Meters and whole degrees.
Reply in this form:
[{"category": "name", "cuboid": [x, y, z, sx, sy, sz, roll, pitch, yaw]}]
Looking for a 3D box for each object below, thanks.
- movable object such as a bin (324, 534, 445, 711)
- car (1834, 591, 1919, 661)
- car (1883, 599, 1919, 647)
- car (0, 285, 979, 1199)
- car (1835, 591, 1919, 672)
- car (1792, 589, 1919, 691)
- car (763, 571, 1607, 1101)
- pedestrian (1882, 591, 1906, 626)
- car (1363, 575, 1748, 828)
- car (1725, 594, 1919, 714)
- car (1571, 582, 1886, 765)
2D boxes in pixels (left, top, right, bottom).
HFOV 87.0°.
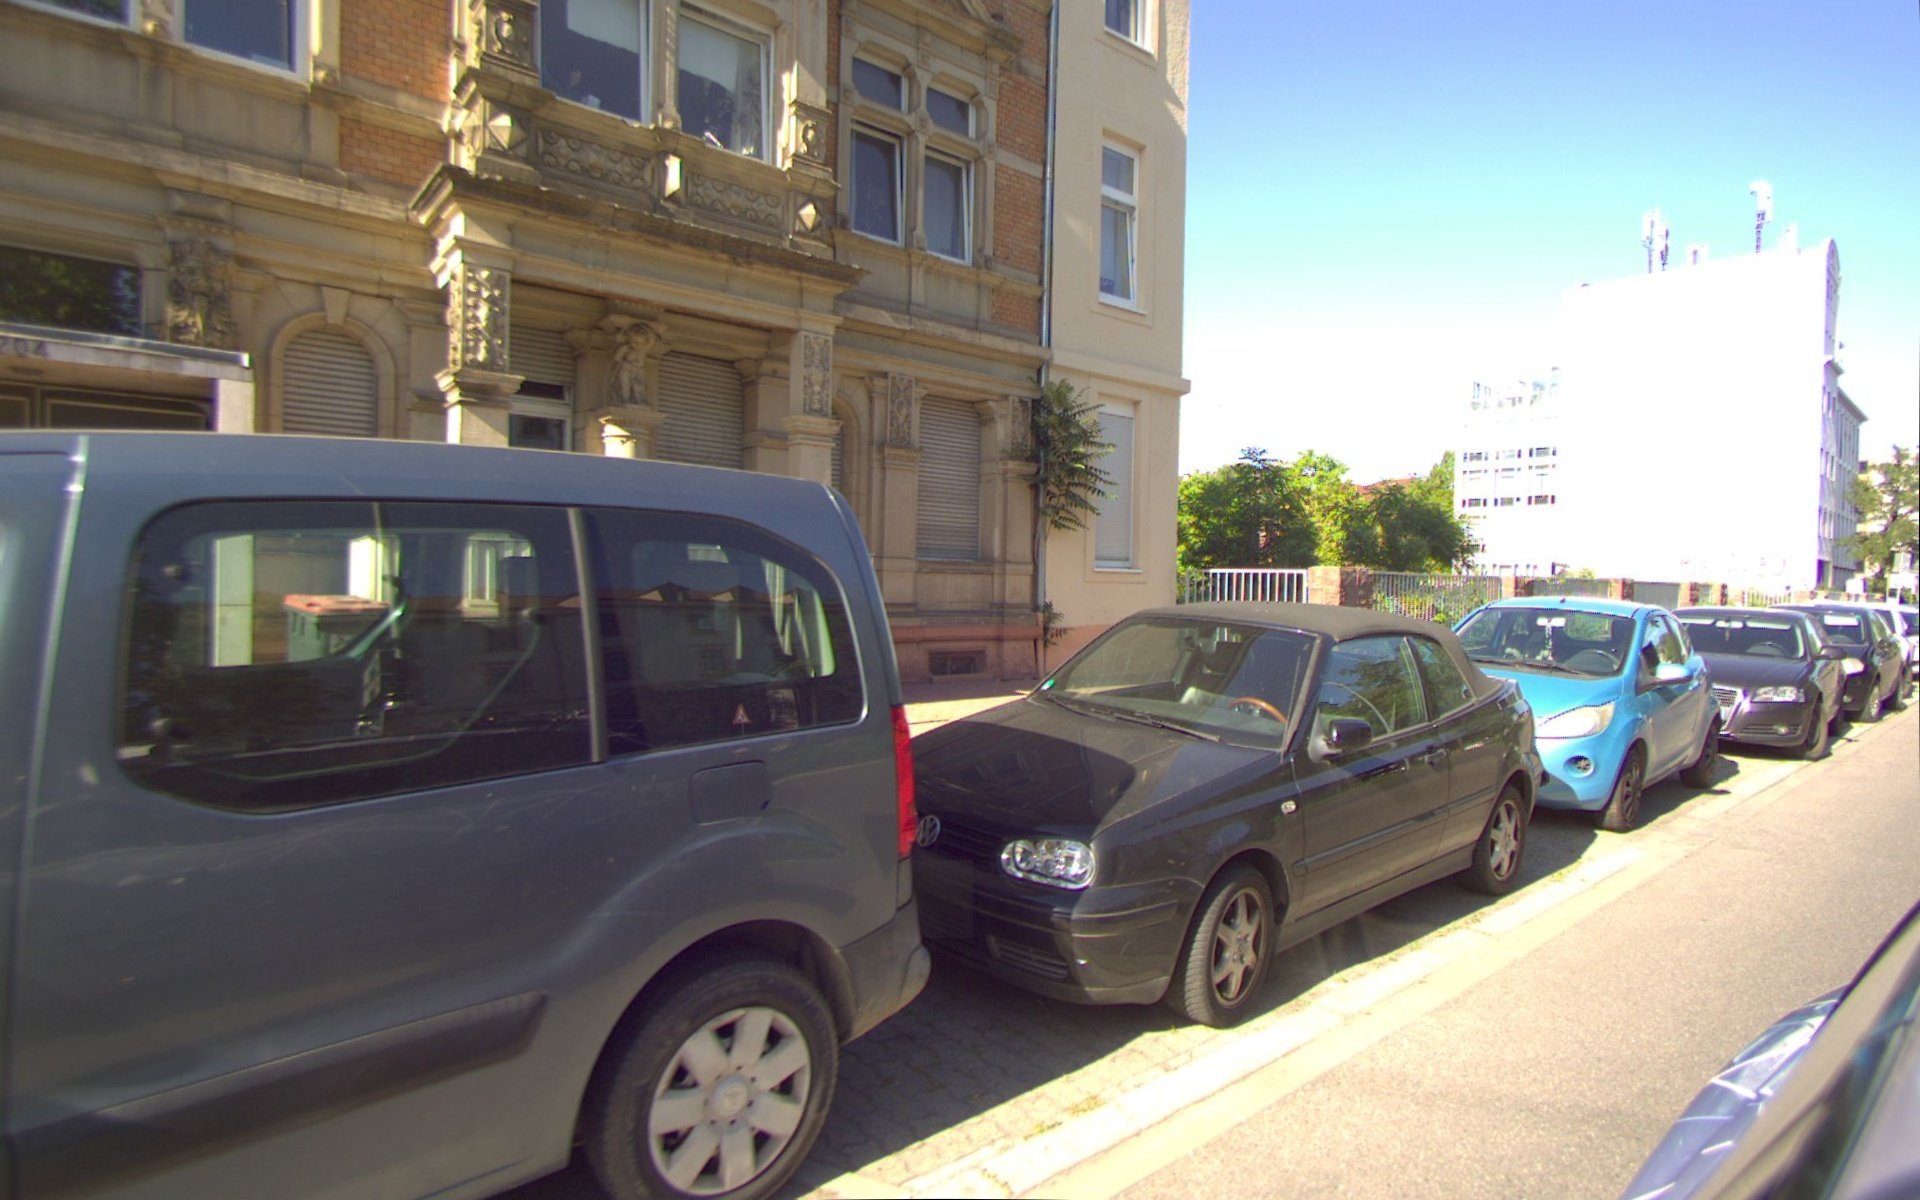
[{"category": "movable object such as a bin", "cuboid": [-4.114, 0.135, 7.224, 0.598, 1.171, 0.760, -3, 2, -39]}, {"category": "car", "cuboid": [22.926, 0.602, 24.996, 1.670, 1.477, 3.921, 6, 4, 45]}, {"category": "car", "cuboid": [26.601, 0.648, 27.663, 3.835, 1.197, 1.671, 0, 4, -43]}, {"category": "car", "cuboid": [-2.197, 0.439, 2.053, 4.285, 1.867, 1.824, 0, 1, -39]}, {"category": "car", "cuboid": [19.489, 0.630, 20.927, 3.596, 1.463, 1.611, 1, 4, -43]}, {"category": "car", "cuboid": [15.691, 0.620, 17.474, 3.601, 1.538, 1.669, 0, 1, -45]}, {"category": "car", "cuboid": [1.349, 0.658, 4.819, 4.196, 1.486, 1.672, 0, 1, -39]}, {"category": "pedestrian", "cuboid": [43.198, 0.402, 46.809, 0.881, 1.603, 0.744, 0, 0, -41]}, {"category": "car", "cuboid": [4.670, 0.614, 7.787, 3.242, 1.489, 1.624, 1, 1, -42]}, {"category": "car", "cuboid": [12.166, 0.655, 14.160, 3.710, 1.411, 1.670, 0, 1, -43]}, {"category": "car", "cuboid": [8.421, 0.627, 10.936, 4.407, 1.538, 1.938, 0, 1, -43]}]
